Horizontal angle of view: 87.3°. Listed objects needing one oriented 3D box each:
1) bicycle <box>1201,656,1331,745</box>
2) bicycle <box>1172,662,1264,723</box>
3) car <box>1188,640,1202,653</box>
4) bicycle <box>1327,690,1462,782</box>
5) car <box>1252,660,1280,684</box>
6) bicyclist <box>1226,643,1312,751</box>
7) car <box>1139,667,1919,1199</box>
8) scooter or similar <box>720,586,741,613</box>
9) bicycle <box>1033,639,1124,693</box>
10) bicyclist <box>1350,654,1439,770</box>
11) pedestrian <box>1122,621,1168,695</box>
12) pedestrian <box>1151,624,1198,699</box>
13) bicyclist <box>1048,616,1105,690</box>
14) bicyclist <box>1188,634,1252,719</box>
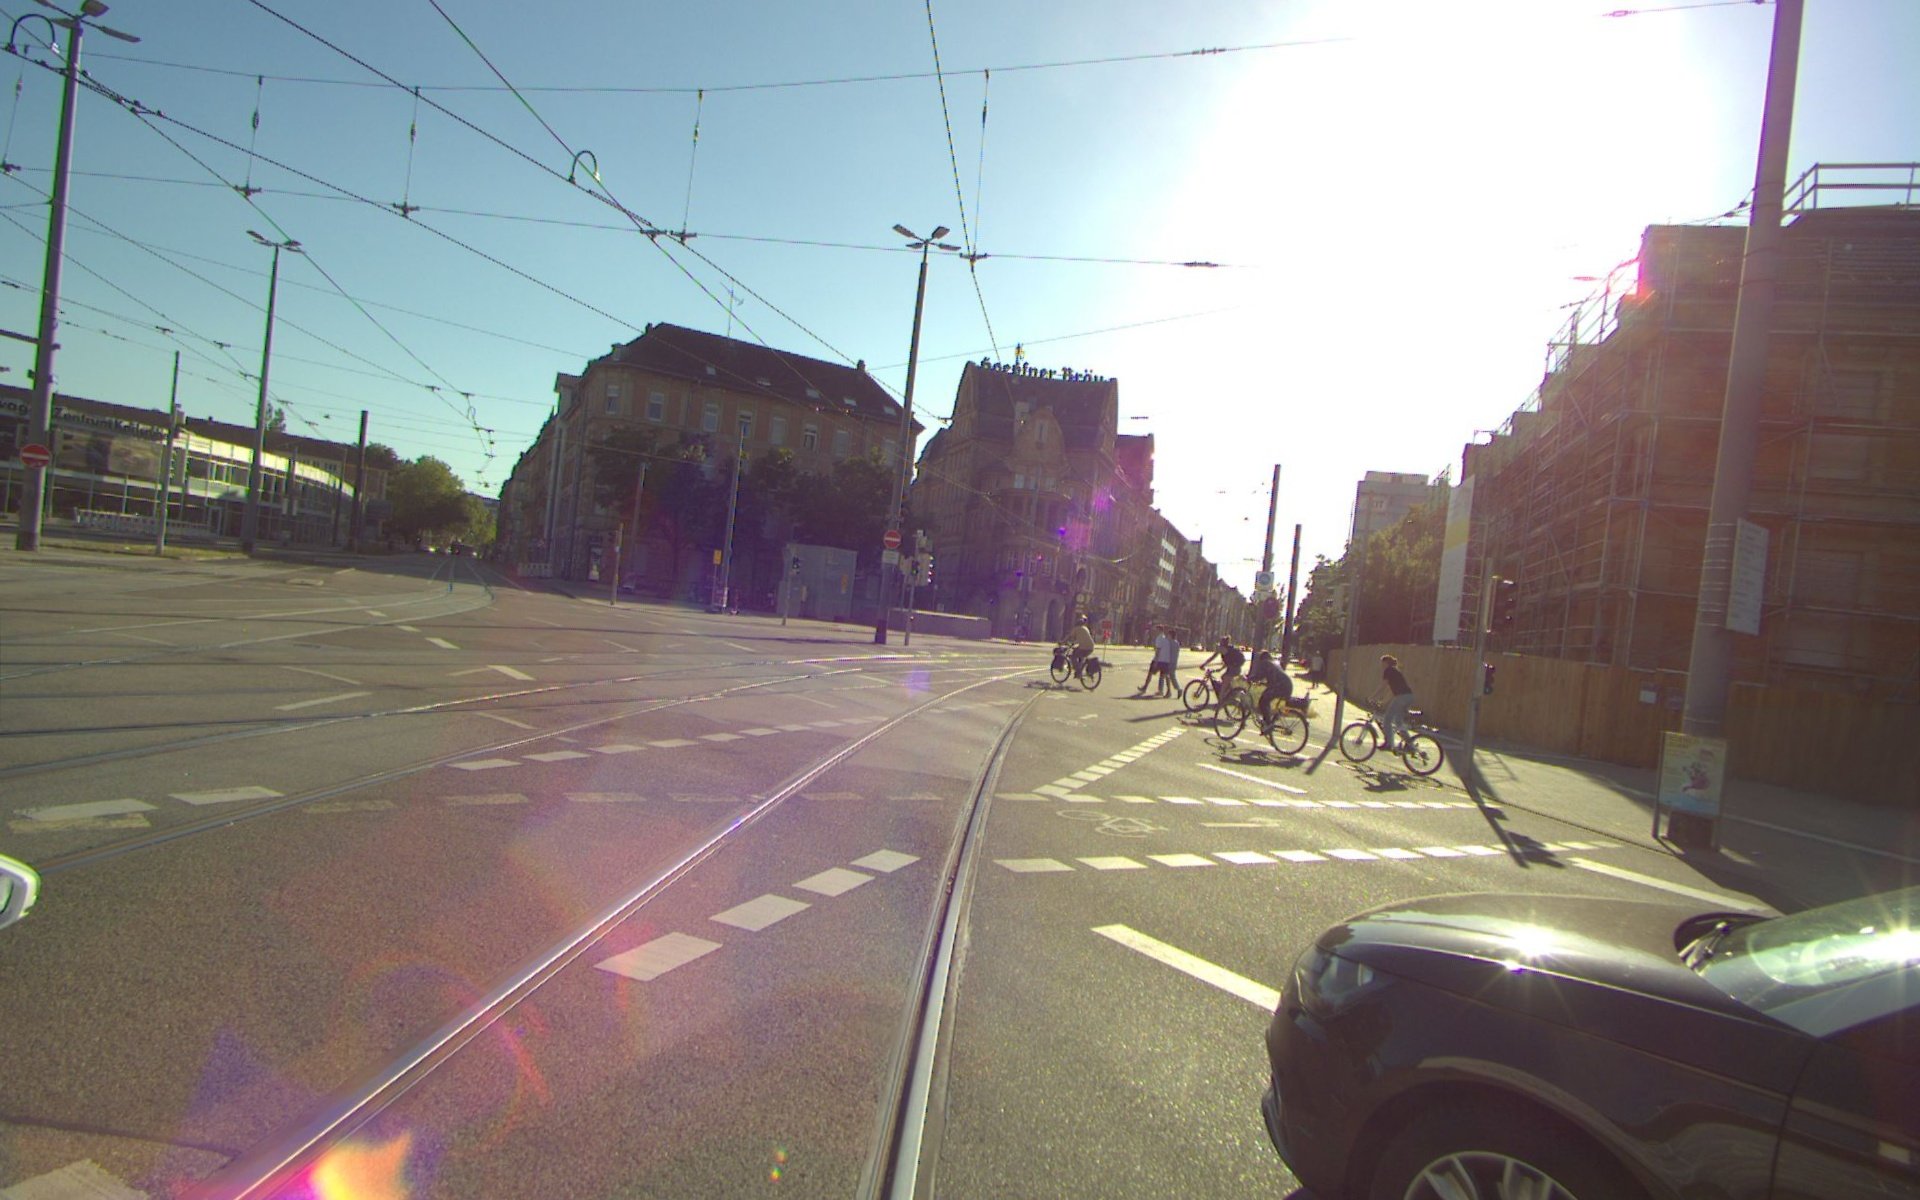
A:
[{"bbox_3d":[5.002,1.632,16.568,0.644,1.136,1.882,10,-2,-39],"label":"bicycle"},{"bbox_3d":[5.657,2.030,22.174,0.642,1.040,1.889,8,-1,-34],"label":"bicycle"},{"bbox_3d":[43.016,8.540,184.380,1.962,2.036,4.006,9,-2,9],"label":"car"},{"bbox_3d":[6.952,2.166,16.132,1.750,1.136,0.646,7,-2,40],"label":"bicycle"},{"bbox_3d":[22.368,5.273,73.438,1.723,1.480,4.024,6,-3,18],"label":"car"},{"bbox_3d":[5.062,1.576,16.497,0.644,1.587,0.964,10,-2,-40],"label":"bicyclist"},{"bbox_3d":[2.448,1.098,1.873,1.686,1.405,3.784,7,-1,-44],"label":"car"},{"bbox_3d":[-10.967,-0.017,48.127,0.718,1.215,1.444,8,-1,-7],"label":"scooter or similar"},{"bbox_3d":[2.973,1.645,25.328,2.074,1.040,0.765,7,0,38],"label":"bicycle"},{"bbox_3d":[6.977,1.794,16.156,0.961,1.680,0.646,8,-2,39],"label":"bicyclist"},{"bbox_3d":[4.948,1.543,26.906,0.680,1.869,0.818,9,-1,-13],"label":"pedestrian"},{"bbox_3d":[5.694,1.613,26.763,0.680,1.869,0.818,9,-1,-13],"label":"pedestrian"},{"bbox_3d":[2.948,1.338,25.382,0.960,1.715,0.765,8,0,38],"label":"bicyclist"},{"bbox_3d":[5.715,1.682,22.153,0.642,1.715,0.966,8,0,-34],"label":"bicyclist"}]
